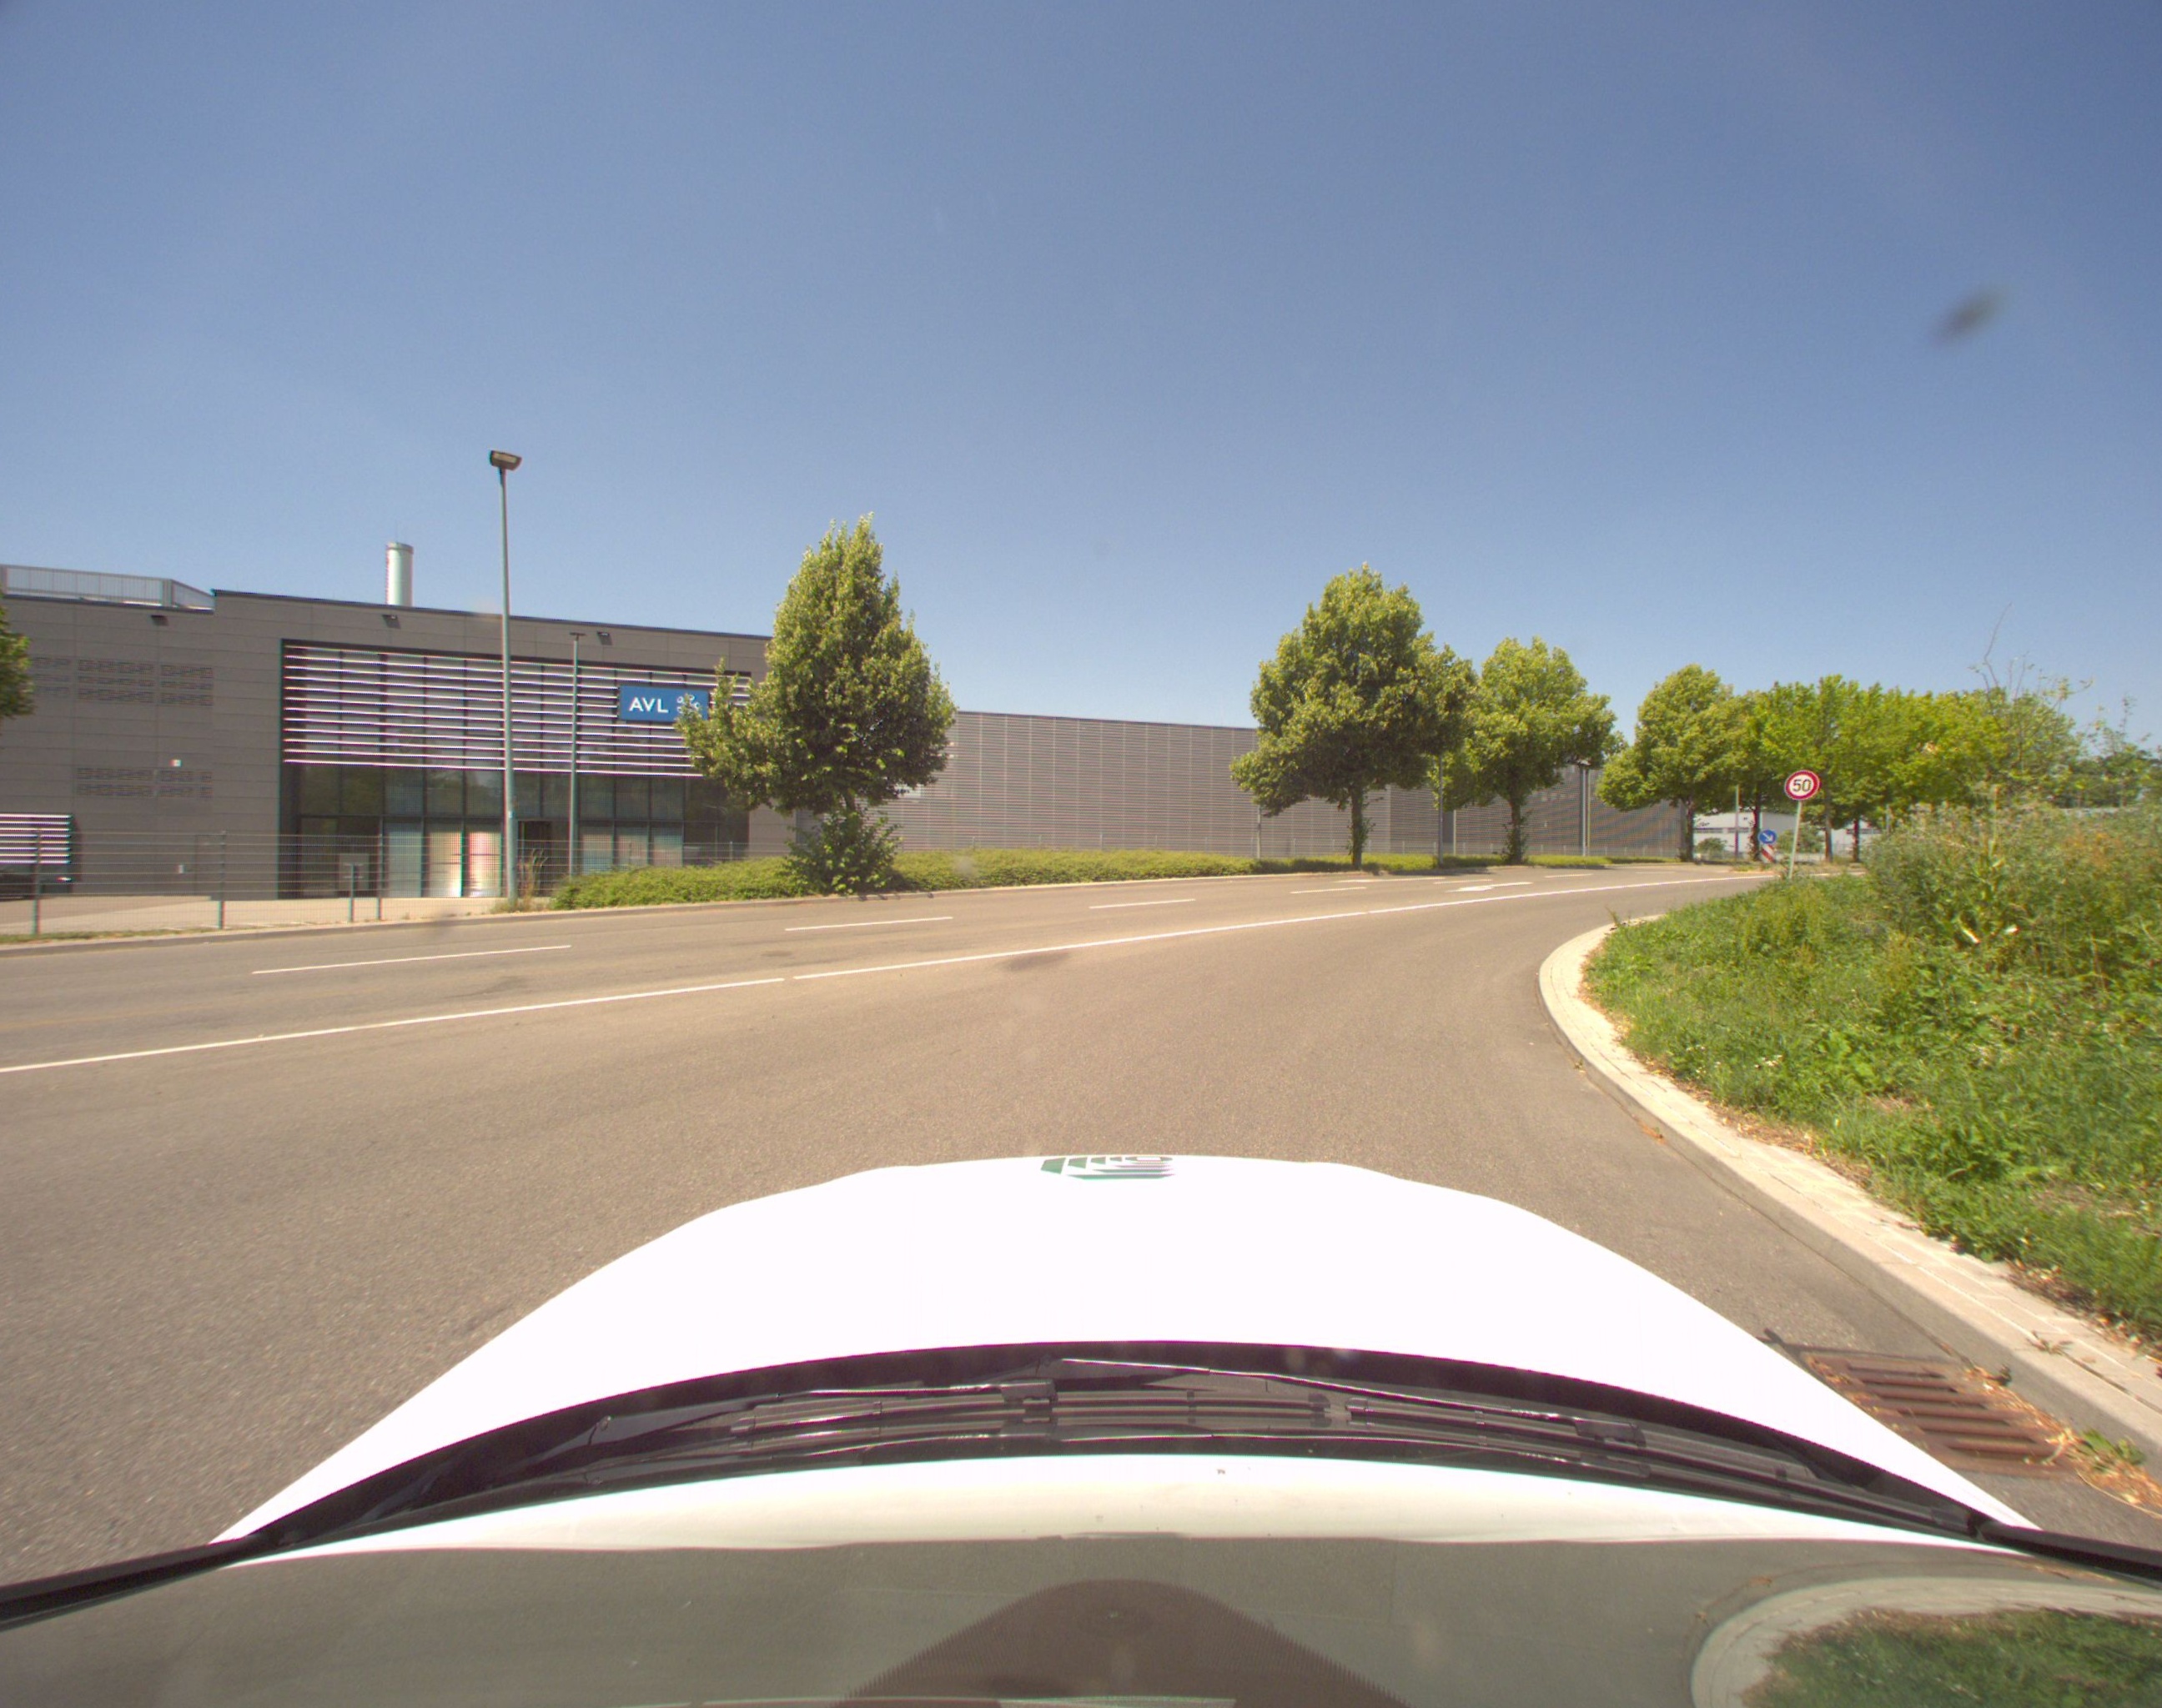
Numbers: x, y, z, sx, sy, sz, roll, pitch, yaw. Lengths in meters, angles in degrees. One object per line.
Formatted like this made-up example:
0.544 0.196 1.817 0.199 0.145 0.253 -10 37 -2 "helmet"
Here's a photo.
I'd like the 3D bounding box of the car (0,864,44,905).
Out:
-40.129 1.157 29.062 2.001 1.486 3.972 -3 0 -20 "car"
